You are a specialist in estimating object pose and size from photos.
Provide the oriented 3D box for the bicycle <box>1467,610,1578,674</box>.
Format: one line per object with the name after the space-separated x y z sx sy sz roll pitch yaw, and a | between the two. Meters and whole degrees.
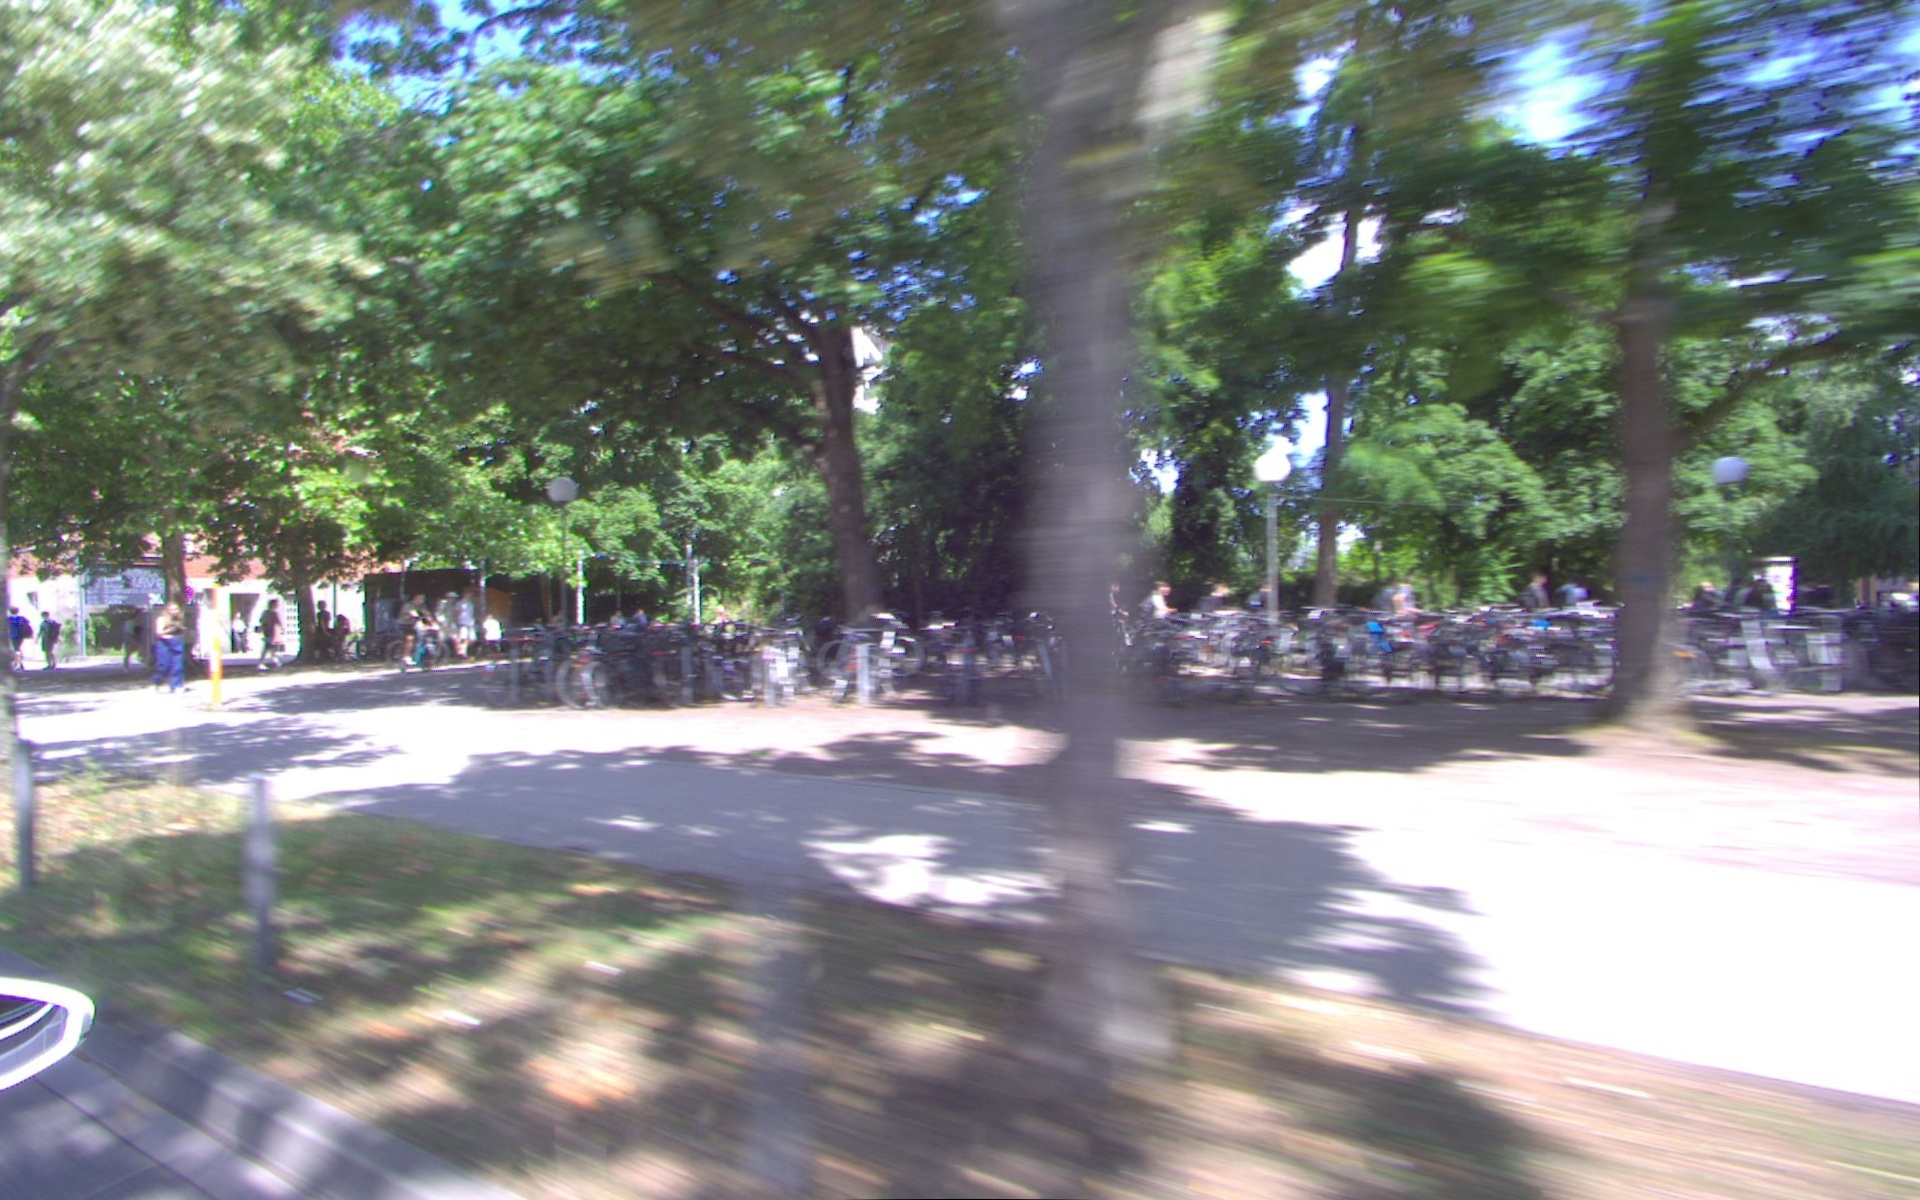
9.515 0.684 17.031 0.372 0.992 1.900 -2 1 -18 | bicycle

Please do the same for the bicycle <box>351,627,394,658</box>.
-22.289 1.595 37.971 1.997 1.155 0.572 -1 0 32 | bicycle

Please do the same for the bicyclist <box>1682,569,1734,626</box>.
19.526 -0.061 26.142 0.788 1.466 0.744 0 1 -11 | bicyclist

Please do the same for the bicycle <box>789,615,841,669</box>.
-2.883 0.820 20.109 0.469 0.992 1.902 -1 1 9 | bicycle

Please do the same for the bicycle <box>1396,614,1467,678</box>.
8.098 0.760 17.277 0.371 0.992 1.903 -1 0 2 | bicycle

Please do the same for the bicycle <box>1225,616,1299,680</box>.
5.158 0.794 17.217 0.469 0.992 1.903 -1 0 -7 | bicycle

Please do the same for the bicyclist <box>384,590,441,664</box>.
-13.200 0.651 24.147 1.058 1.753 0.530 -1 2 12 | bicyclist

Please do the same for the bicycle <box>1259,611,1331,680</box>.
5.750 0.753 17.294 0.469 1.097 1.903 -1 1 -4 | bicycle

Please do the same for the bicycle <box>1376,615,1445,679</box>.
7.685 0.777 17.141 0.371 0.992 1.903 -1 0 2 | bicycle

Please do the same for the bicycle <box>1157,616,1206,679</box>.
3.821 0.797 17.374 0.469 0.992 1.903 -1 0 2 | bicycle

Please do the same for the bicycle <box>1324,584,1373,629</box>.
9.875 0.152 25.495 0.469 1.108 1.610 -1 1 -5 | bicycle

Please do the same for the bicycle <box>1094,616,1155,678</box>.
2.885 0.799 17.757 0.469 0.992 1.902 -2 0 -9 | bicycle

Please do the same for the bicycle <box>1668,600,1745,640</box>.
19.452 0.508 26.106 1.720 0.944 0.585 -2 3 -11 | bicycle

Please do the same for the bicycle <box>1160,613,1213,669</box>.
4.374 0.772 19.476 0.371 0.992 1.903 -1 0 -7 | bicycle

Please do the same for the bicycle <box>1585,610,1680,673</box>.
11.811 0.704 17.644 0.288 1.036 1.742 -2 1 -9 | bicycle

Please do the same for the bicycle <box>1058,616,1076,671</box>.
2.113 0.831 19.830 0.300 0.992 1.884 -1 1 5 | bicycle

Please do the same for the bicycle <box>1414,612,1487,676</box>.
8.424 0.728 17.258 0.371 0.992 1.903 -1 0 2 | bicycle

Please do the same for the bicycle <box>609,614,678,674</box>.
-6.681 0.913 21.226 0.470 1.158 1.902 -1 1 13 | bicycle

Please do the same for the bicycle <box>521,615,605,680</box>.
-7.506 0.869 19.024 0.601 1.133 1.808 -1 1 10 | bicycle

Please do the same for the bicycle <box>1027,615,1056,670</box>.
1.624 0.826 19.874 0.434 0.992 1.903 -1 1 8 | bicycle

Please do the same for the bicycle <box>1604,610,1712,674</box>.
12.132 0.703 17.463 0.469 1.036 1.742 -2 1 -9 | bicycle

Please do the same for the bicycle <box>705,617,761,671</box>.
-4.632 0.875 20.558 0.469 0.992 1.903 -1 1 7 | bicycle

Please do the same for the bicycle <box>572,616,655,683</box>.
-6.474 0.898 18.805 0.601 1.133 1.902 -1 1 10 | bicycle

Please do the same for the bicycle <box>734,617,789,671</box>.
-3.994 0.870 20.264 0.413 0.992 1.902 -1 1 10 | bicycle

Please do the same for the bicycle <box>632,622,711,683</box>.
-5.310 0.944 18.537 0.601 0.992 1.902 -1 1 10 | bicycle

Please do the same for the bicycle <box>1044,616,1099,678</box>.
1.948 0.800 17.726 0.469 0.992 1.902 -2 0 -8 | bicycle

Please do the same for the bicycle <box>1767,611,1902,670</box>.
15.874 0.714 18.242 0.470 0.992 1.900 -2 1 -17 | bicycle

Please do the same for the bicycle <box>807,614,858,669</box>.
-2.526 0.811 20.007 0.469 0.992 1.902 -1 1 9 | bicycle

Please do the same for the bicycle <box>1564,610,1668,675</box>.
11.456 0.715 17.547 0.469 1.036 1.742 -2 1 -9 | bicycle

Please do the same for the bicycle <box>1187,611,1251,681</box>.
4.421 0.765 17.226 0.469 1.097 1.903 -1 1 -4 | bicycle

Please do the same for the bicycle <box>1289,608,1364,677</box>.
6.328 0.710 17.379 0.469 1.097 1.903 -1 1 -4 | bicycle

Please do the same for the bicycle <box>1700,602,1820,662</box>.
14.185 0.546 17.813 0.469 0.992 1.903 -1 0 -6 | bicycle

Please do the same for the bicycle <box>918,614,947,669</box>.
-0.550 0.807 20.104 0.526 0.992 1.903 -1 0 -2 | bicycle

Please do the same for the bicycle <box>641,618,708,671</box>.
-5.898 0.900 20.774 0.470 0.992 1.902 -1 1 13 | bicycle

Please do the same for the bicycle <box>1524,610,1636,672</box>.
10.726 0.688 17.401 0.372 0.992 1.900 -2 1 -16 | bicycle

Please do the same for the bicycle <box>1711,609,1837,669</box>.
14.617 0.672 18.057 0.469 0.992 1.902 -2 1 -11 | bicycle

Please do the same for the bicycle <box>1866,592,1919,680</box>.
13.181 0.483 13.328 0.406 1.186 1.844 -1 0 -7 | bicycle

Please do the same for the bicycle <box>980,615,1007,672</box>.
0.653 0.824 19.555 0.469 0.992 1.903 -1 0 2 | bicycle

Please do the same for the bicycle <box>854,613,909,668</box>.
-1.545 0.786 20.037 0.601 0.992 1.902 -1 1 10 | bicycle

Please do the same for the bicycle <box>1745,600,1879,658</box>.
15.358 0.499 18.115 0.470 0.992 1.900 -2 1 -17 | bicycle

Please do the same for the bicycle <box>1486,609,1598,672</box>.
9.933 0.667 17.173 0.372 0.992 1.900 -2 1 -18 | bicycle

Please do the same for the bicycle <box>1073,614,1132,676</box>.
2.495 0.770 17.694 0.469 0.992 1.902 -2 0 -9 | bicycle

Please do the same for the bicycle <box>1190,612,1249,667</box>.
5.086 0.751 19.732 0.469 0.992 1.903 -1 0 -7 | bicycle

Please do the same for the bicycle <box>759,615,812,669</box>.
-3.519 0.838 20.349 0.413 0.992 1.902 -1 1 10 | bicycle

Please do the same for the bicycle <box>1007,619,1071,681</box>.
1.370 0.848 17.651 0.470 0.992 1.900 -2 1 -16 | bicycle

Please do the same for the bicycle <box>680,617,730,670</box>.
-5.253 0.885 20.731 0.413 0.992 1.903 -1 0 4 | bicycle

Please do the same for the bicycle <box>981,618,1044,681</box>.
0.885 0.825 17.285 0.470 0.992 1.900 -2 1 -16 | bicycle
